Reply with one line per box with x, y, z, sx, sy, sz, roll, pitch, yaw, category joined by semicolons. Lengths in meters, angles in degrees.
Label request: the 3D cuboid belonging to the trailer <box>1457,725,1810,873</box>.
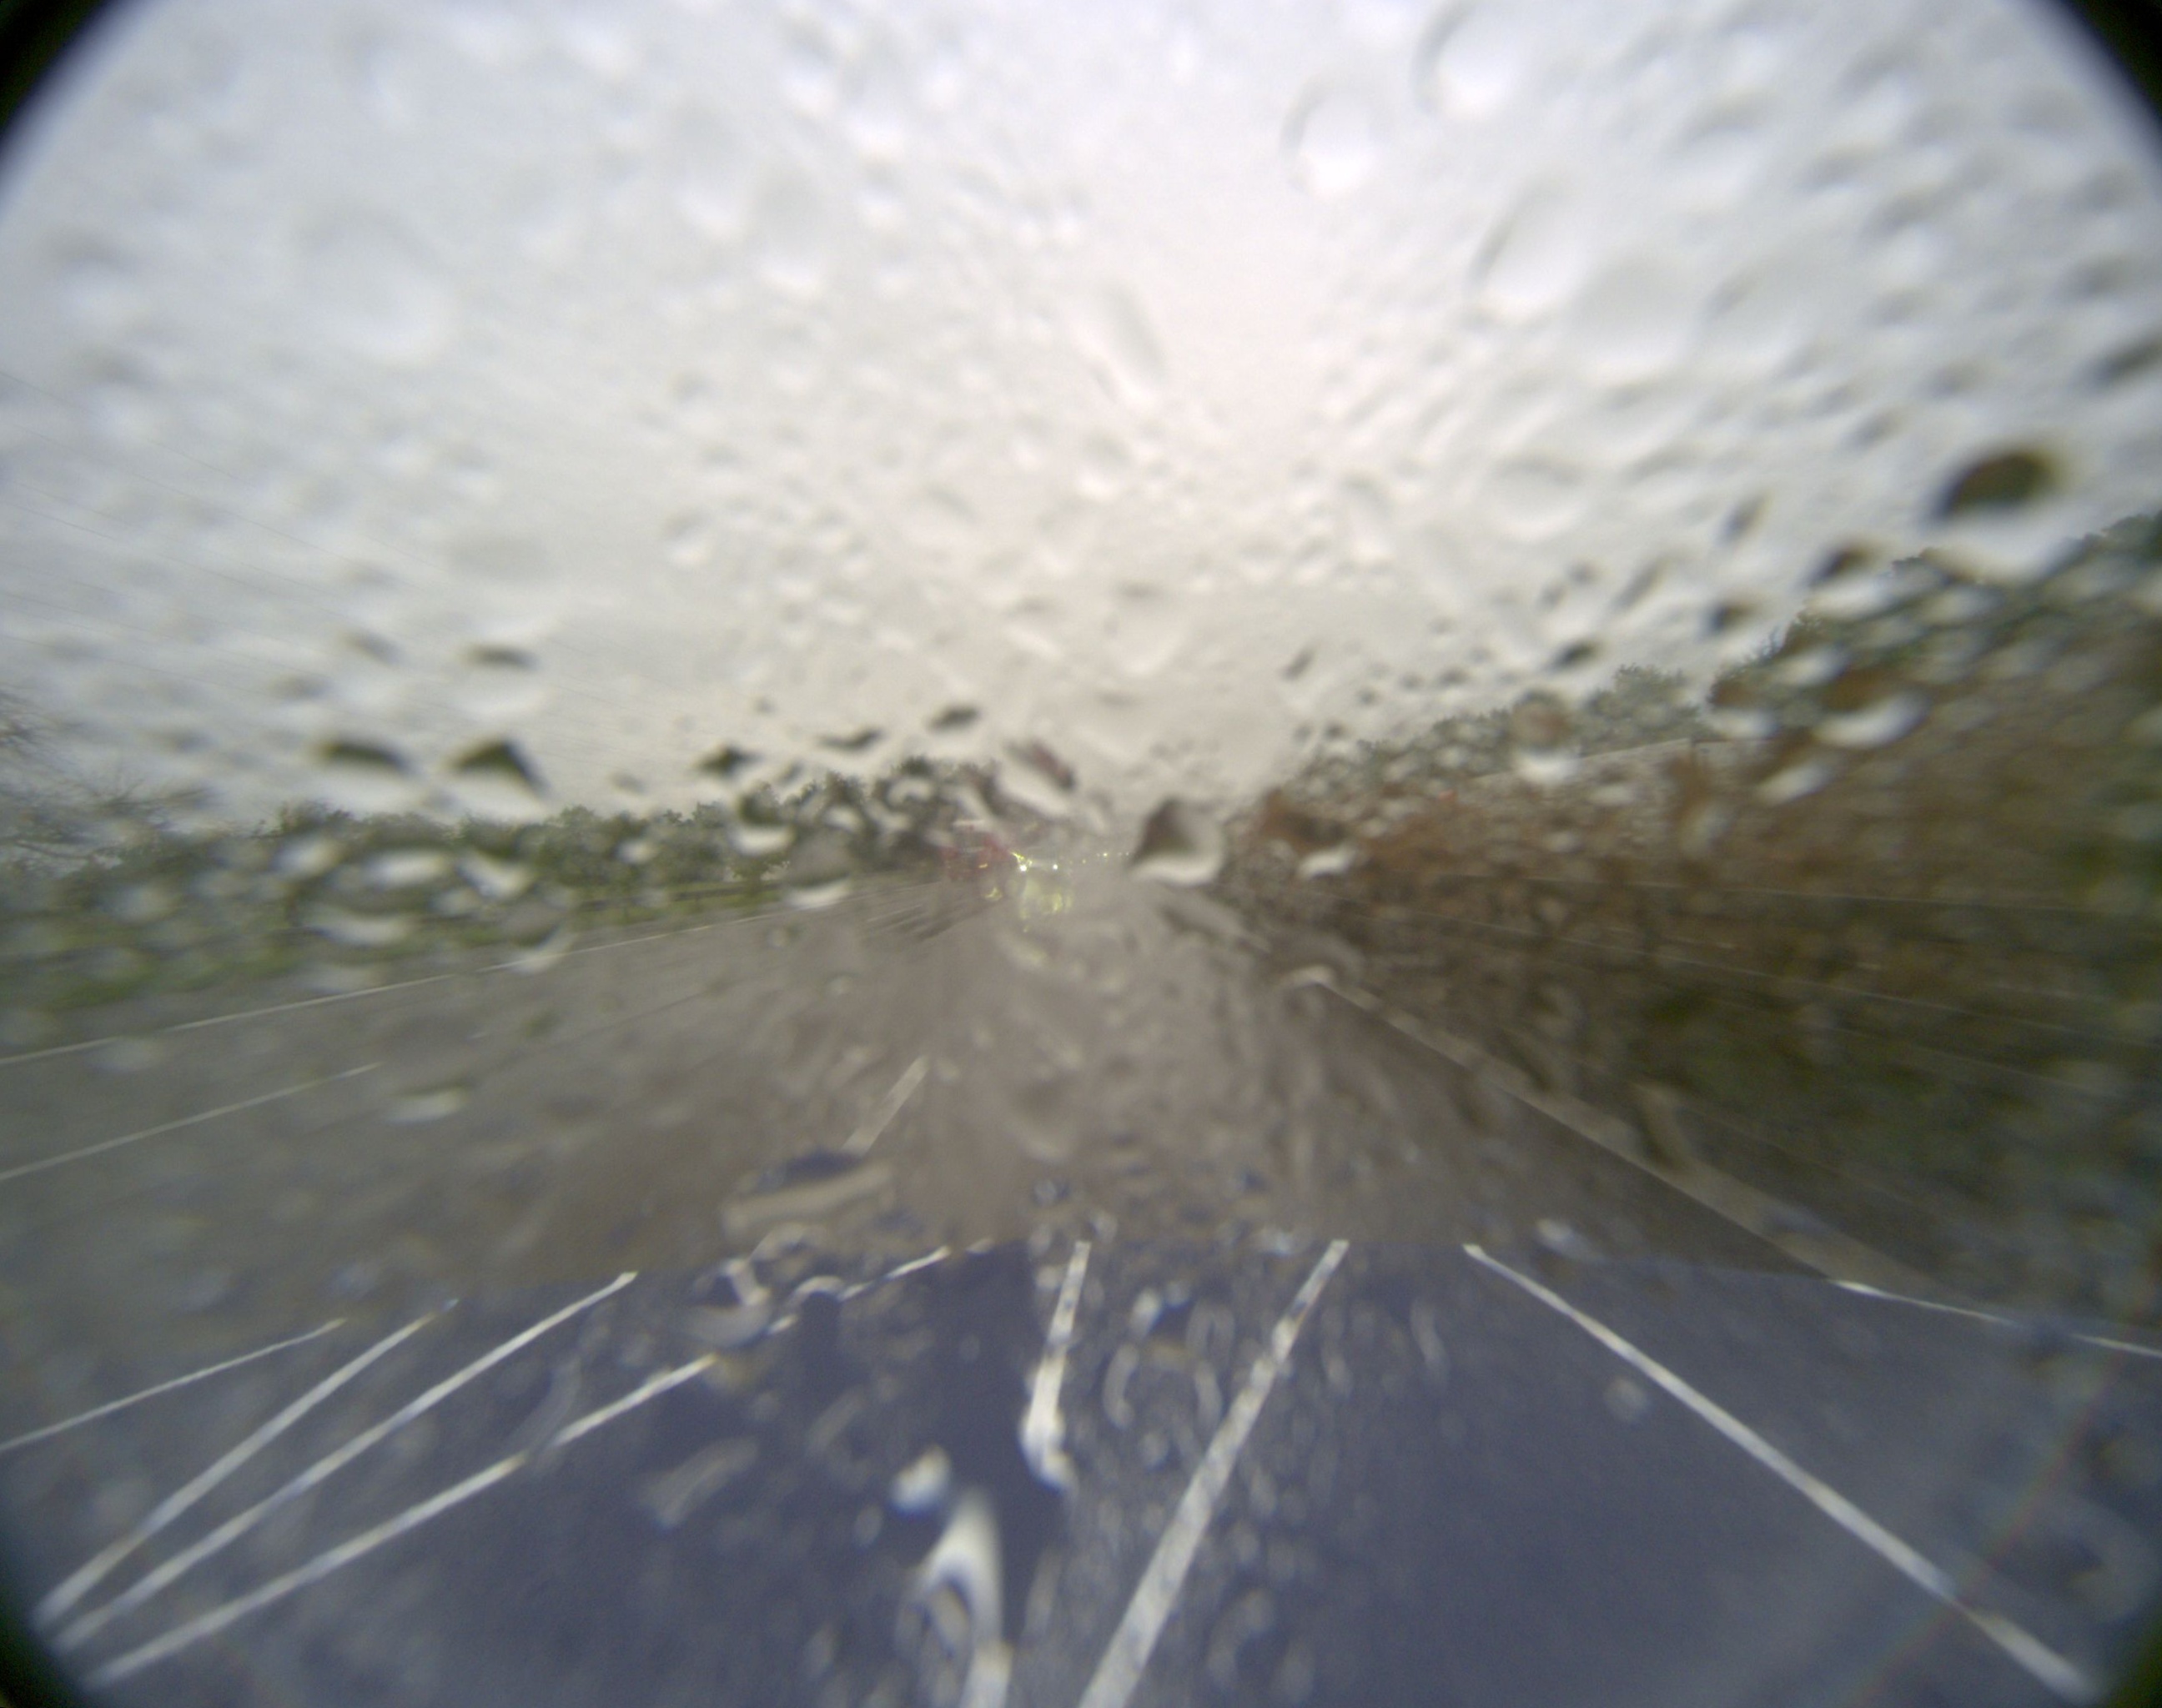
18.098;-1.536;27.098;2.801;3.766;13.797;-3;1;2;trailer

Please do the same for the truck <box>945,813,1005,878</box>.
-6.768;-0.557;49.385;2.626;3.933;5.433;-2;1;4;truck

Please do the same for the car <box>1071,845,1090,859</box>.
-0.060;-0.264;87.400;1.769;1.448;3.960;-5;0;5;car

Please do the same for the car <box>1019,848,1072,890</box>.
-1.713;0.707;38.885;1.891;1.873;5.010;-5;0;5;car

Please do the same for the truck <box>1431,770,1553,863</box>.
18.338;-1.596;34.291;2.801;3.767;4.890;-3;1;2;truck

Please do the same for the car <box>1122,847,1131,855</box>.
9.215;-0.555;153.838;1.769;1.448;3.960;-5;0;5;car

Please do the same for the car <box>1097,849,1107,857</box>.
4.344;-0.205;153.755;1.769;1.448;3.960;-5;0;4;car

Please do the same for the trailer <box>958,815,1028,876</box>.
-6.289;-0.688;56.721;2.626;3.933;13.631;-2;1;4;trailer
